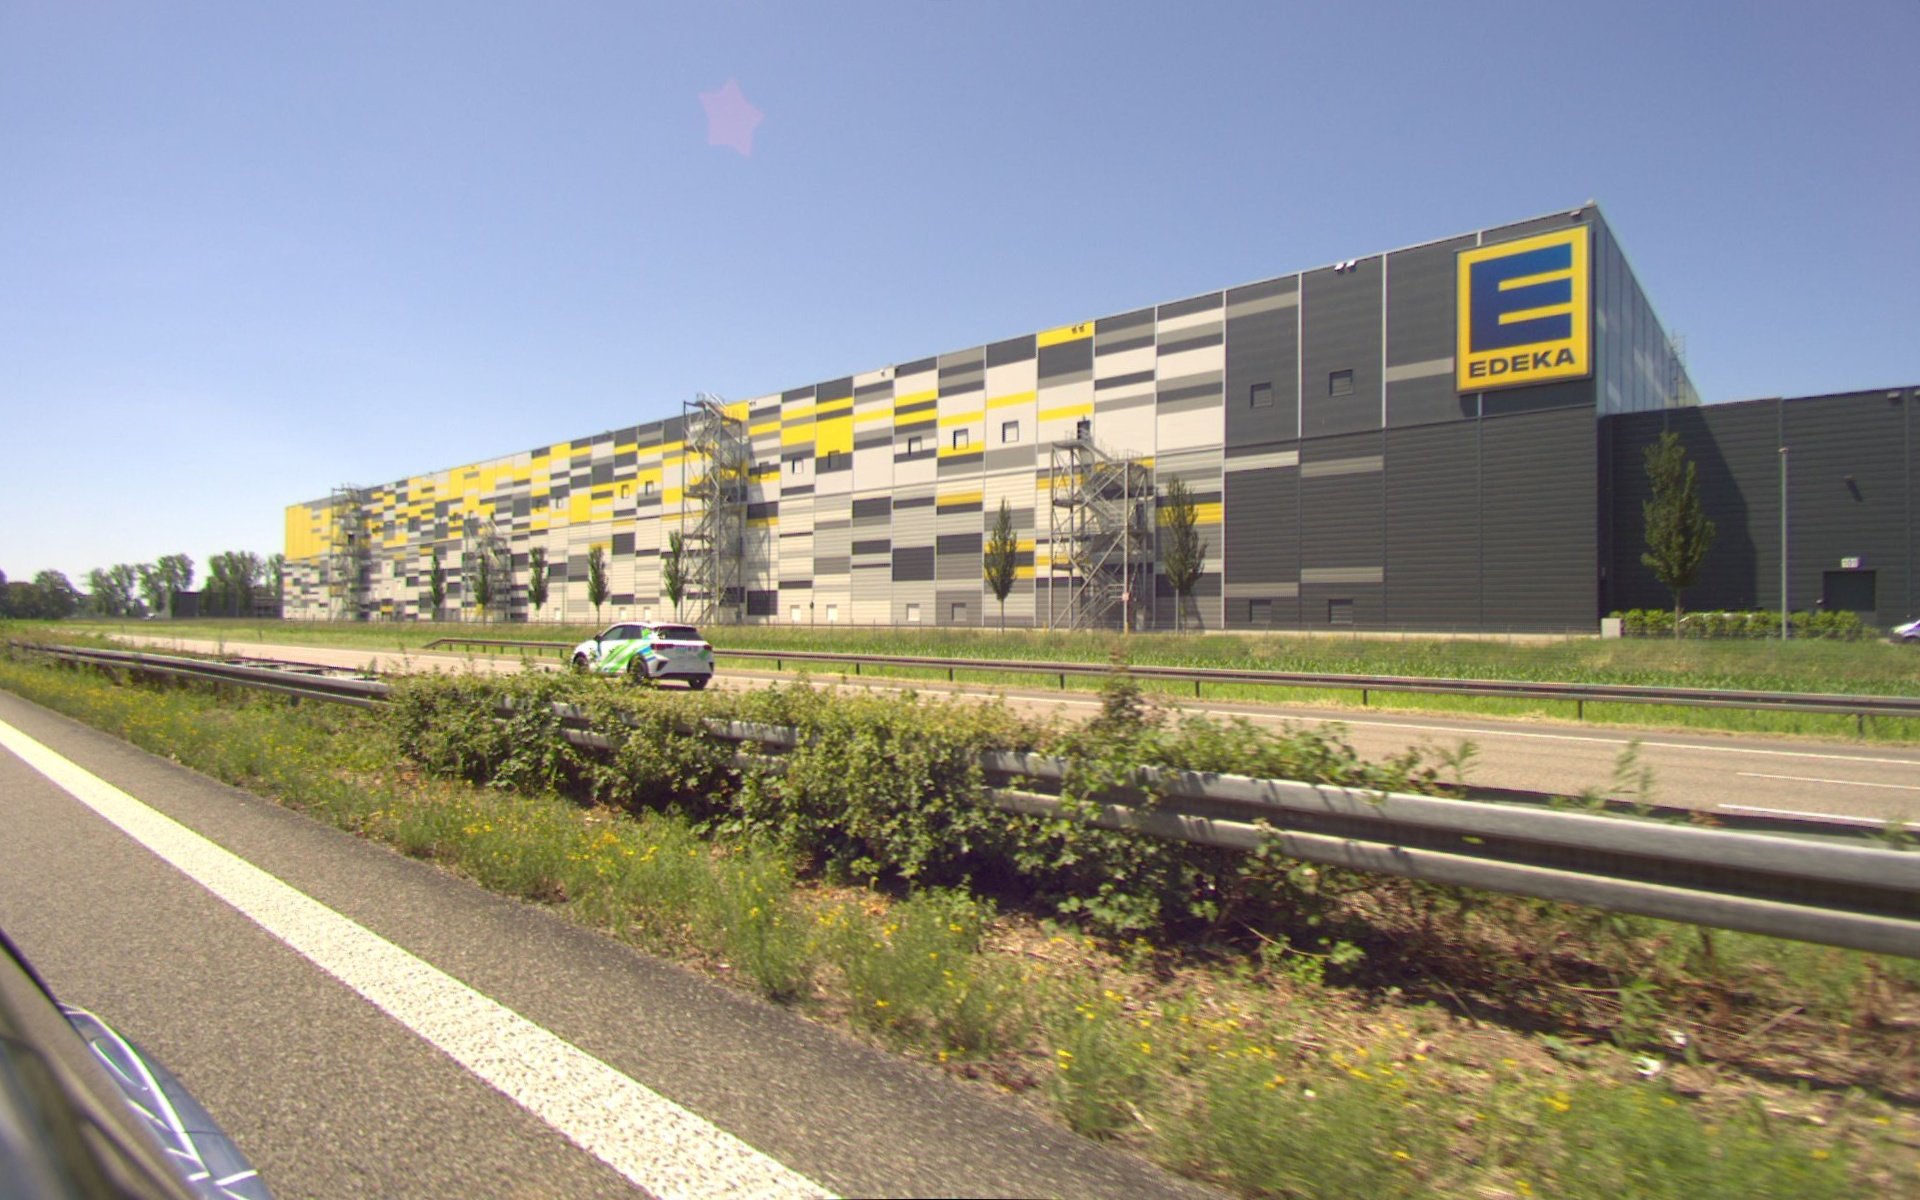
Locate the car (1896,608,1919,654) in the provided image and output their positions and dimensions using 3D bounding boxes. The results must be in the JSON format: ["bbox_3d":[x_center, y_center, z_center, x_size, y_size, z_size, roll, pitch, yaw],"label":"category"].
[{"bbox_3d":[54.715,1.691,54.495,6.171,2.475,2.372,-1,-2,41],"label":"car"}]

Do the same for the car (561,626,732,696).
[{"bbox_3d":[-7.468,1.400,23.921,4.414,1.495,1.789,-1,-4,41],"label":"car"}]
